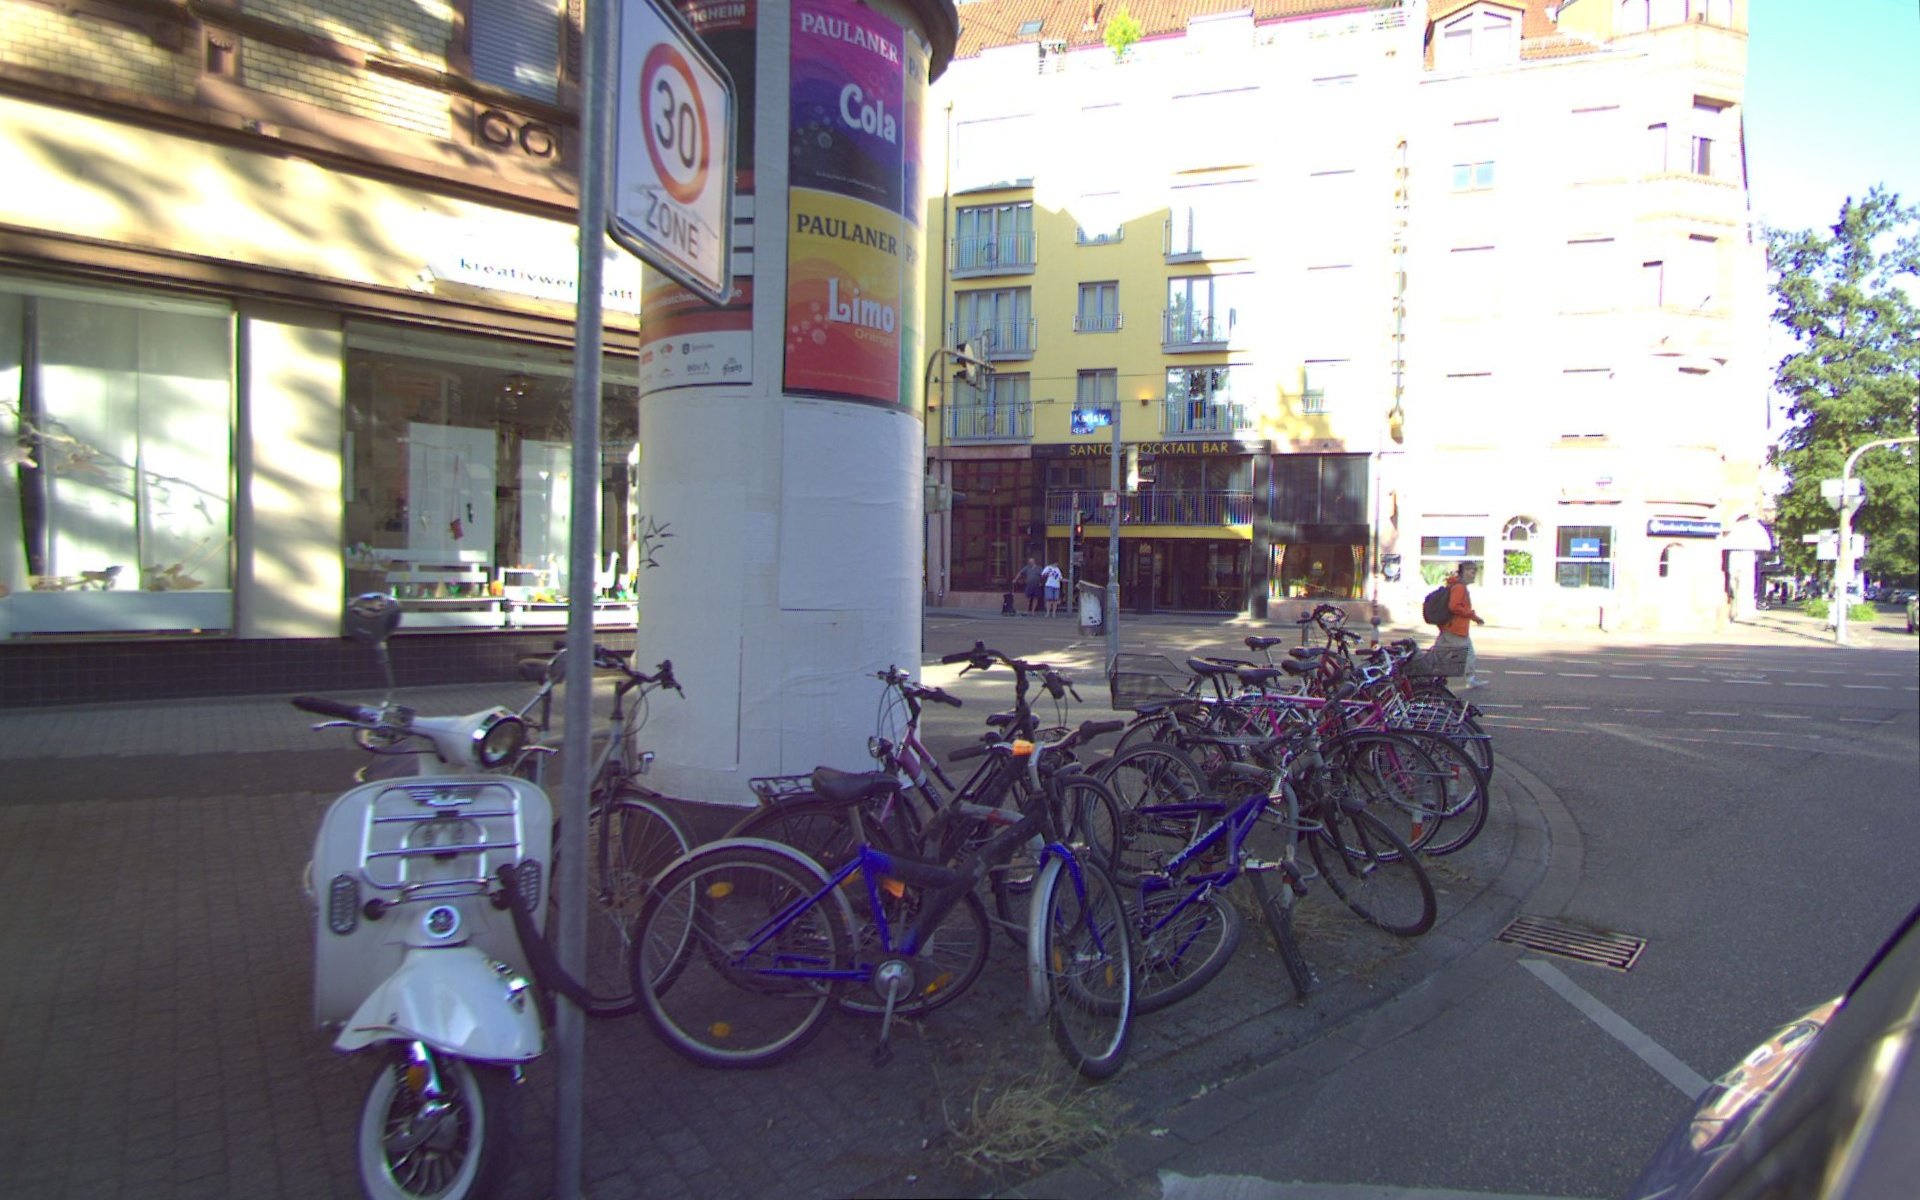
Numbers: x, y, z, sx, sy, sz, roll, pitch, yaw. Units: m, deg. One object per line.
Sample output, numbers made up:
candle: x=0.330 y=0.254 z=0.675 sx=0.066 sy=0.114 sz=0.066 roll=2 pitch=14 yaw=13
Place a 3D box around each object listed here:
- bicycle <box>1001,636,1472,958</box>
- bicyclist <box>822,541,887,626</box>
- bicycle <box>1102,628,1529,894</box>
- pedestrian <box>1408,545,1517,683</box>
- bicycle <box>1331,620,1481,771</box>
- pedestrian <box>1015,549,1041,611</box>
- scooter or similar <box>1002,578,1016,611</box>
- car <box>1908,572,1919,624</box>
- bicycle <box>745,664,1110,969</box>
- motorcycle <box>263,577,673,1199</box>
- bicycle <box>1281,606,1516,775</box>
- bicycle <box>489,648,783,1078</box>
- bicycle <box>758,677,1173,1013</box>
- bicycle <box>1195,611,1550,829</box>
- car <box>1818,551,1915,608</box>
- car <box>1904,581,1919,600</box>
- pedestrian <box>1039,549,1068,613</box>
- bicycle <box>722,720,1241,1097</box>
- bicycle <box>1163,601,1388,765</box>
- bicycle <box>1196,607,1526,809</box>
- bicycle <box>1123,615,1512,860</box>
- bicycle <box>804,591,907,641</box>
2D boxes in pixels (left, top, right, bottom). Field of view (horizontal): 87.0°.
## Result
bicycle: x=1.156 y=0.768 z=4.496 sx=1.921 sy=0.999 sz=0.491 roll=5 pitch=5 yaw=31
bicyclist: x=-1.997 y=-0.307 z=19.139 sx=1.067 sy=1.573 sz=0.631 roll=0 pitch=0 yaw=18
bicycle: x=1.736 y=0.760 z=5.178 sx=1.909 sy=1.064 sz=0.501 roll=4 pitch=4 yaw=16
pedestrian: x=6.520 y=0.146 z=13.201 sx=1.160 sy=1.700 sz=1.000 roll=2 pitch=2 yaw=23
bicycle: x=3.528 y=0.713 z=8.004 sx=0.991 sy=1.039 sz=0.730 roll=2 pitch=2 yaw=31
pedestrian: x=2.098 y=-0.620 z=31.252 sx=0.670 sy=1.862 sz=0.724 roll=1 pitch=5 yaw=17
scooter or similar: x=1.500 y=-0.180 z=31.158 sx=0.352 sy=0.988 sz=0.421 roll=1 pitch=5 yaw=15
car: x=33.542 y=-0.035 z=33.992 sx=1.989 sy=1.771 sz=3.947 roll=2 pitch=2 yaw=37
bicycle: x=-0.081 y=0.783 z=4.056 sx=1.497 sy=0.938 sz=0.354 roll=-1 pitch=5 yaw=-37
motorcycle: x=-1.504 y=0.621 z=2.850 sx=0.673 sy=1.248 sz=1.904 roll=0 pitch=4 yaw=-37
bicycle: x=3.096 y=0.636 z=7.187 sx=1.447 sy=1.106 sz=0.426 roll=2 pitch=4 yaw=-8
bicycle: x=-1.264 y=0.768 z=3.638 sx=0.348 sy=0.938 sz=1.936 roll=-1 pitch=5 yaw=-38
bicycle: x=0.060 y=0.803 z=3.664 sx=1.495 sy=0.938 sz=0.355 roll=0 pitch=4 yaw=-30
bicycle: x=2.447 y=0.694 z=6.204 sx=1.908 sy=1.106 sz=0.423 roll=3 pitch=4 yaw=14
car: x=55.695 y=-1.303 z=62.408 sx=3.304 sy=3.218 sz=7.984 roll=2 pitch=2 yaw=34
car: x=85.326 y=-0.815 z=88.109 sx=4.275 sy=1.604 sz=1.976 roll=2 pitch=2 yaw=34
pedestrian: x=2.830 y=-0.583 z=30.644 sx=0.725 sy=1.862 sz=0.724 roll=1 pitch=5 yaw=17
bicycle: x=0.050 y=0.856 z=2.914 sx=1.384 sy=0.938 sz=0.355 roll=2 pitch=4 yaw=-8
bicycle: x=2.349 y=0.611 z=7.622 sx=1.447 sy=1.106 sz=0.575 roll=2 pitch=4 yaw=-6
bicycle: x=2.559 y=0.670 z=6.651 sx=1.908 sy=1.106 sz=0.423 roll=3 pitch=4 yaw=14
bicycle: x=1.912 y=0.714 z=5.632 sx=1.909 sy=1.106 sz=0.423 roll=4 pitch=4 yaw=16
bicycle: x=-1.974 y=0.287 z=19.122 sx=1.854 sy=0.924 sz=0.631 roll=0 pitch=0 yaw=18
